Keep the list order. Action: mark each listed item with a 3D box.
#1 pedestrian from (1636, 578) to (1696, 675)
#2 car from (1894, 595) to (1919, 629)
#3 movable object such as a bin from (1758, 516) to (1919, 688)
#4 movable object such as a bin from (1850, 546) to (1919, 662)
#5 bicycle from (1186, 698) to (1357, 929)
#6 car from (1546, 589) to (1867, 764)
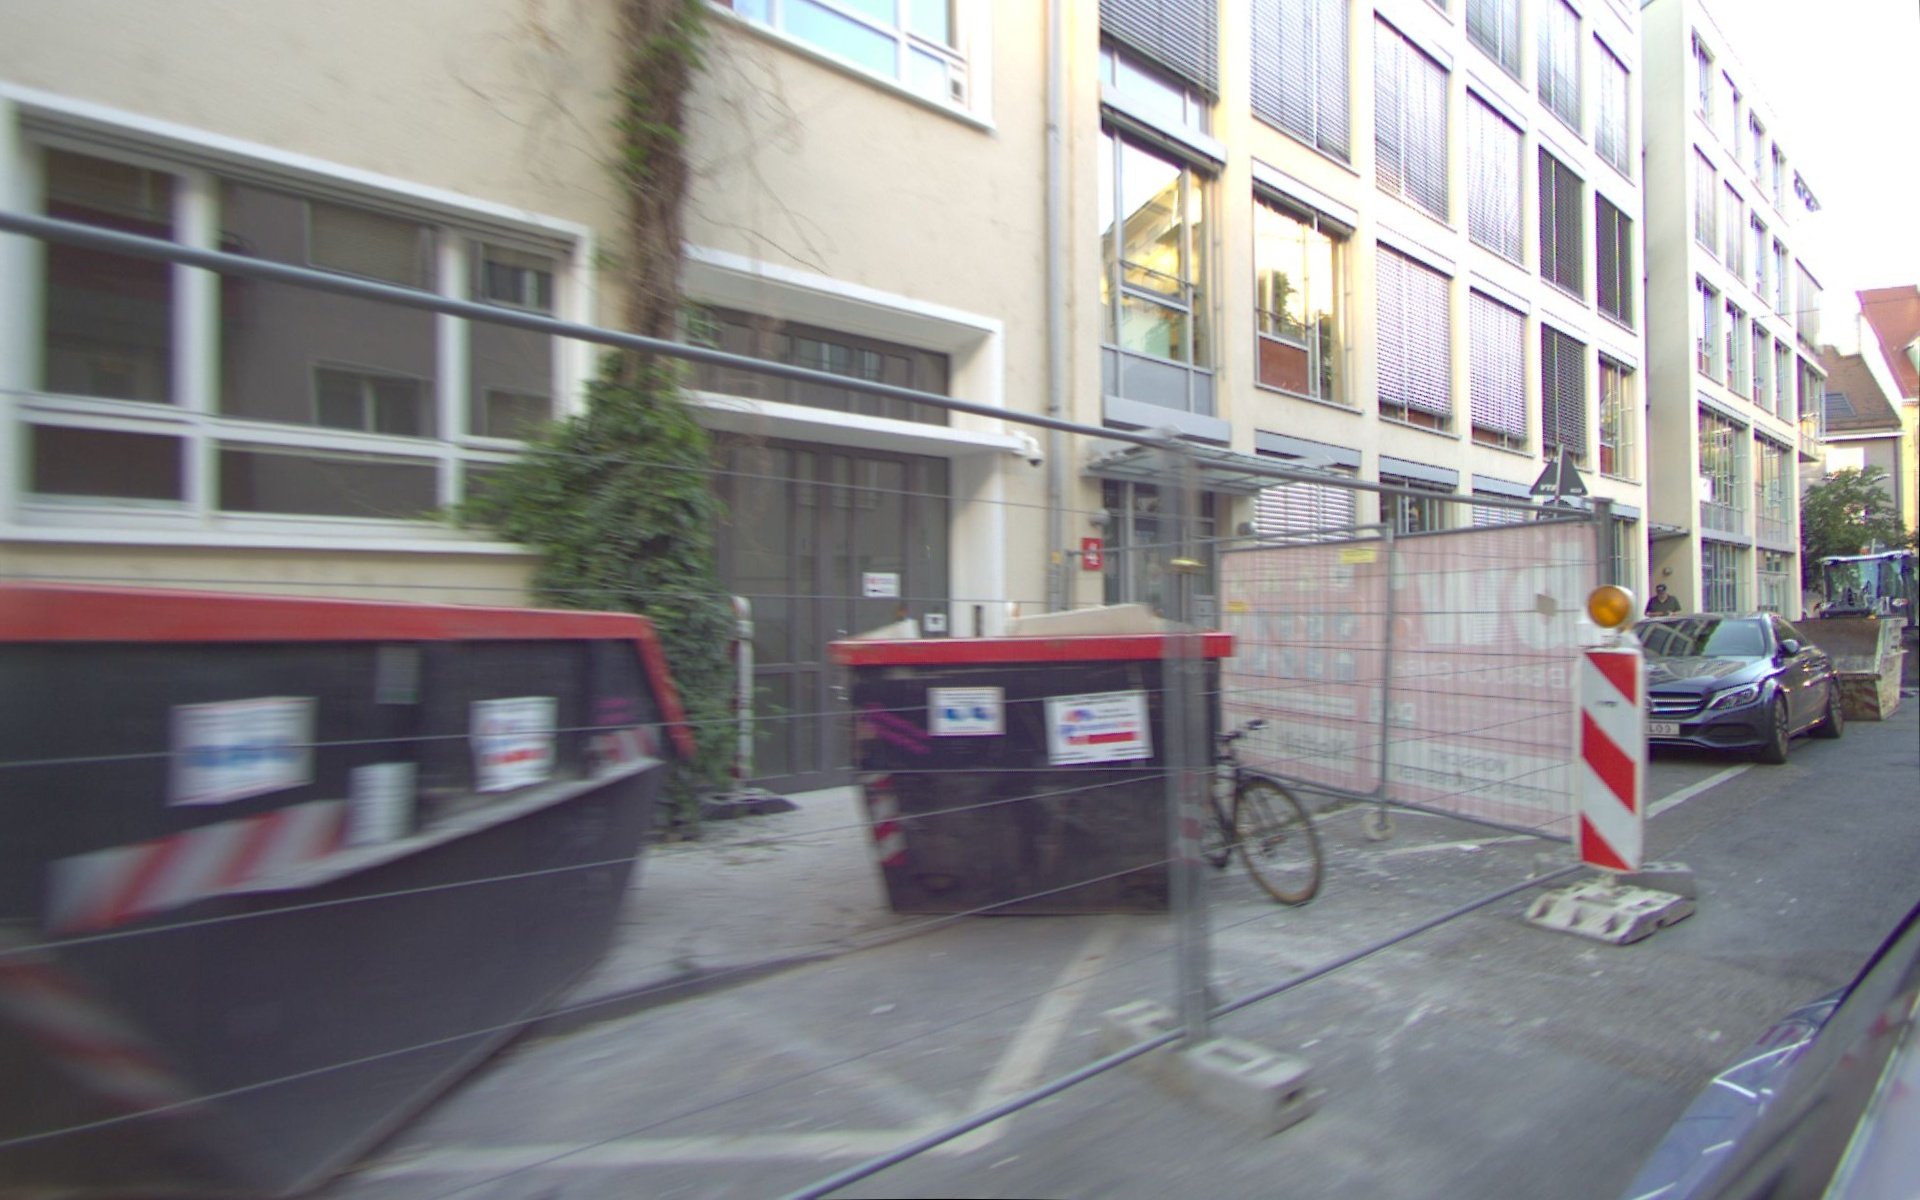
[{"bbox_3d":[13.718,0.502,19.676,0.709,1.842,0.806,0,0,-41],"label":"pedestrian"},{"bbox_3d":[45.340,0.547,47.154,1.617,1.468,3.823,0,2,27],"label":"car"},{"bbox_3d":[16.386,0.093,18.196,5.649,2.658,2.019,1,-4,-41],"label":"movable object such as a bin"},{"bbox_3d":[24.142,0.084,25.243,5.649,2.657,2.019,0,-3,-41],"label":"movable object such as a bin"},{"bbox_3d":[1.629,1.064,5.551,0.451,0.920,1.805,-1,-2,3],"label":"bicycle"},{"bbox_3d":[8.050,0.691,10.758,4.368,1.491,1.789,0,-3,-41],"label":"car"}]
